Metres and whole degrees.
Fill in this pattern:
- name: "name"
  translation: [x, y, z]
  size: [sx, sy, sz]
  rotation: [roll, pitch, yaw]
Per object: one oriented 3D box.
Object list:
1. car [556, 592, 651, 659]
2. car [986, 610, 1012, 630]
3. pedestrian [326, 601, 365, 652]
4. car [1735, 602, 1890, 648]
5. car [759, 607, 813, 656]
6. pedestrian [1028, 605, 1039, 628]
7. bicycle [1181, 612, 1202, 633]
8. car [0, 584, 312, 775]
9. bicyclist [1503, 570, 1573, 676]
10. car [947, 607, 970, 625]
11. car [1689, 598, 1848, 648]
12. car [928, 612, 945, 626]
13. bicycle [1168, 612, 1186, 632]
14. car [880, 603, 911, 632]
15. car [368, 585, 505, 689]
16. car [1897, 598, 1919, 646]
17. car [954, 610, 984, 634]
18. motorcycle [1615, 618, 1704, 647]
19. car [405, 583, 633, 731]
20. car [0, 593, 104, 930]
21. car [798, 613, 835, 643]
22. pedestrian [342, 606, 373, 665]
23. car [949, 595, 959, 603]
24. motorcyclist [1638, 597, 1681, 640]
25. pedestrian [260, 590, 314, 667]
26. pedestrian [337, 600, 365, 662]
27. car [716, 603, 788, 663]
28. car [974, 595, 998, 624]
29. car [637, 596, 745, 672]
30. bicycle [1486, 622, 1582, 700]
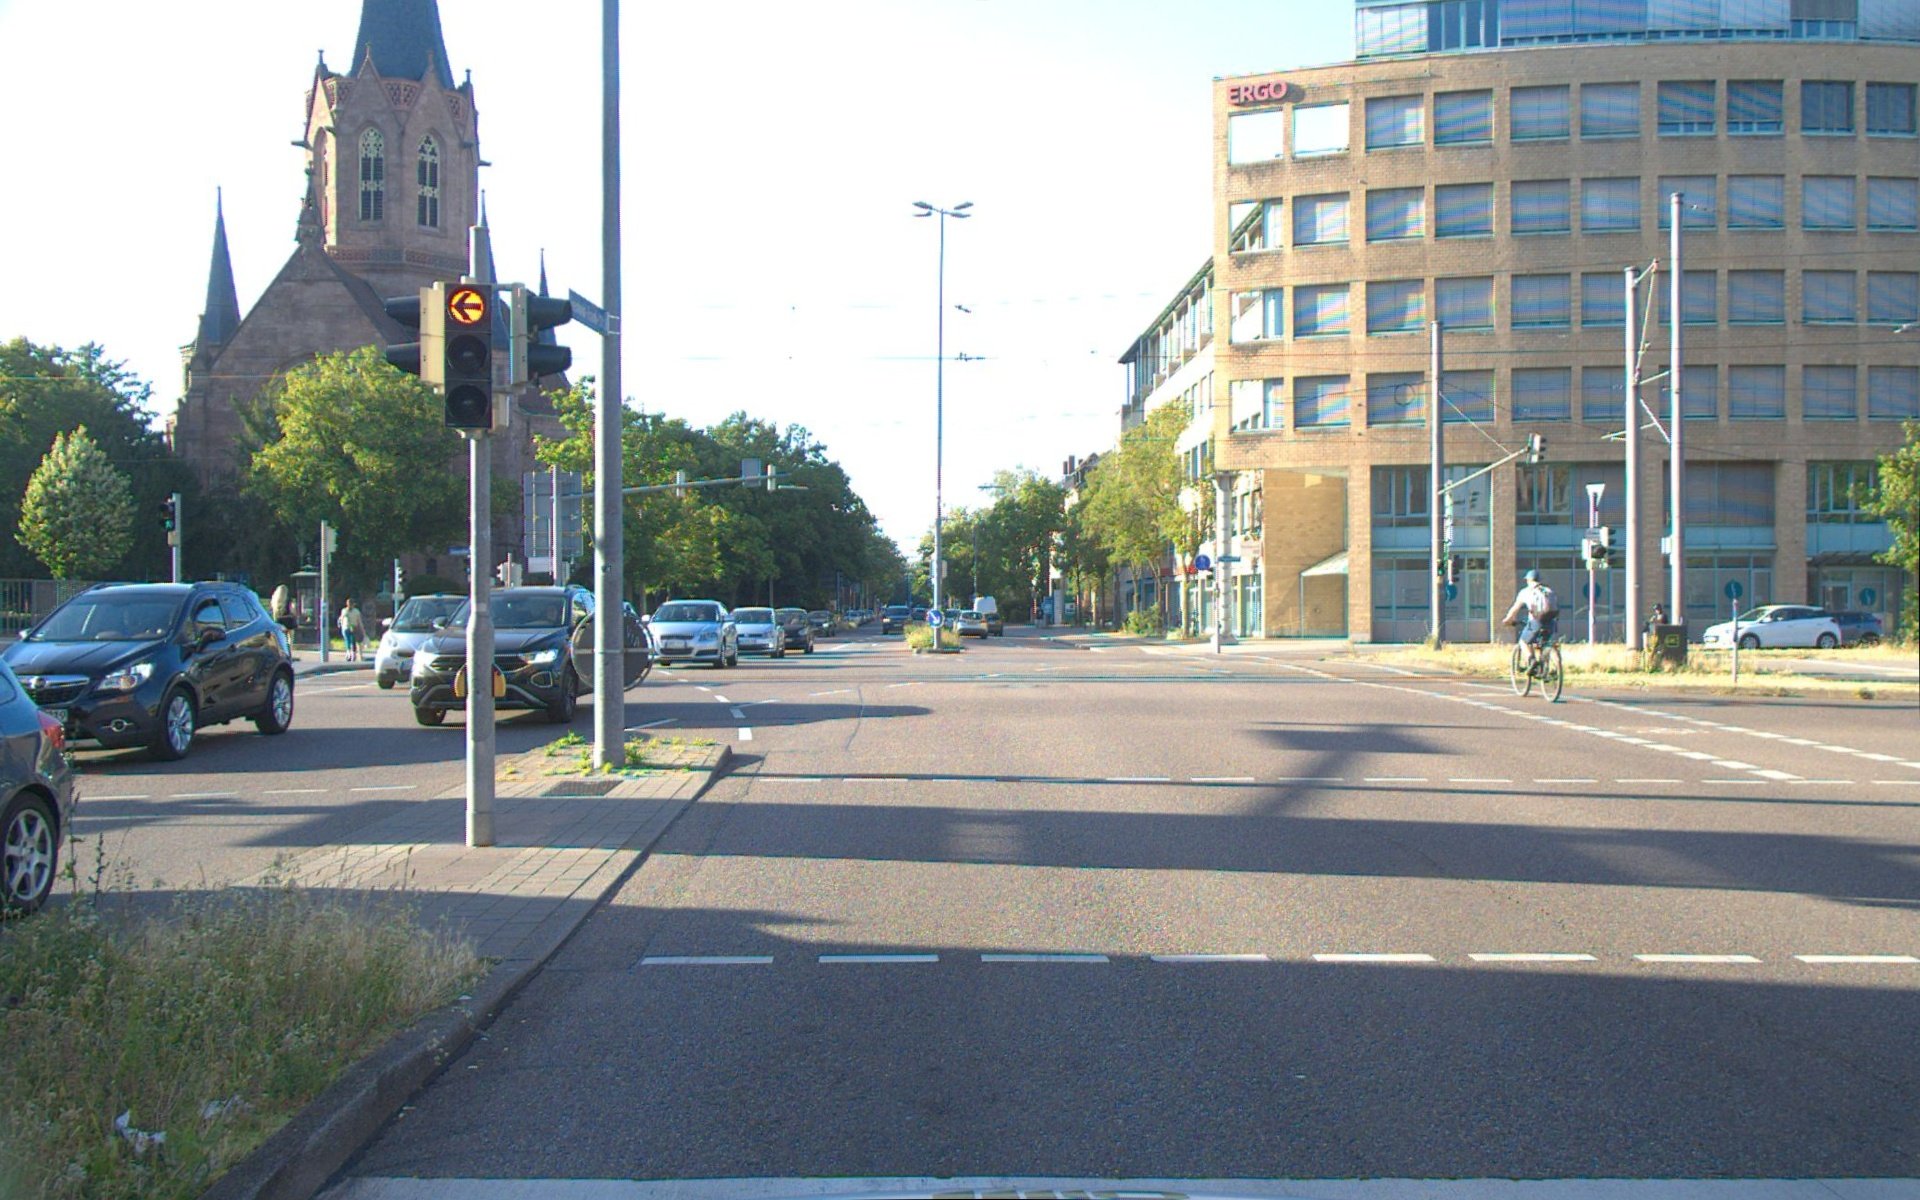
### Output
- name: "car"
  translation: [-9.000, 0.610, 41.995]
  size: [1.641, 1.571, 3.637]
  rotation: [-2, 0, -1]
- name: "car"
  translation: [2.477, 1.284, 106.785]
  size: [1.562, 1.289, 3.266]
  rotation: [0, 0, -1]
- name: "pedestrian"
  translation: [-21.455, 0.917, 57.772]
  size: [0.997, 1.726, 0.841]
  rotation: [1, -1, 37]
- name: "car"
  translation: [29.679, 0.863, 57.646]
  size: [4.390, 1.564, 1.986]
  rotation: [0, -1, -1]
- name: "car"
  translation: [-6.026, 1.061, 57.567]
  size: [1.546, 1.571, 3.476]
  rotation: [-2, 0, -1]
- name: "pedestrian"
  translation: [5.840, 1.292, 130.954]
  size: [0.830, 1.835, 0.775]
  rotation: [0, 0, -1]
- name: "bicycle"
  translation: [11.296, 1.110, 80.778]
  size: [0.633, 1.012, 2.080]
  rotation: [0, 0, -2]
- name: "car"
  translation: [-8.161, 0.694, 16.719]
  size: [1.685, 1.657, 4.101]
  rotation: [-2, 0, -2]
- name: "bicyclist"
  translation: [7.801, 0.302, 22.345]
  size: [0.580, 1.393, 0.929]
  rotation: [1, 0, -1]
- name: "car"
  translation: [-0.123, 1.145, 119.687]
  size: [1.562, 1.289, 3.266]
  rotation: [0, 0, -1]
- name: "car"
  translation: [25.592, 0.728, 52.450]
  size: [4.080, 1.518, 1.994]
  rotation: [0, -1, -3]
- name: "car"
  translation: [-2.195, 1.812, 156.632]
  size: [1.562, 1.289, 3.266]
  rotation: [0, 0, -1]
- name: "bicycle"
  translation: [11.184, 1.128, 85.311]
  size: [0.633, 1.012, 2.080]
  rotation: [0, 0, -2]
- name: "car"
  translation: [-4.124, 1.153, 107.005]
  size: [1.953, 1.754, 5.029]
  rotation: [-1, -1, -2]
- name: "car"
  translation: [-8.750, 0.581, 27.842]
  size: [1.505, 1.620, 2.806]
  rotation: [-2, 0, -3]
- name: "car"
  translation: [32.352, 0.702, 52.716]
  size: [3.970, 1.518, 1.819]
  rotation: [0, -1, -2]
- name: "car"
  translation: [0.458, 1.179, 89.679]
  size: [1.562, 1.289, 3.266]
  rotation: [0, 0, -1]
- name: "motorcycle"
  translation: [24.275, 1.113, 57.448]
  size: [2.663, 0.981, 1.031]
  rotation: [0, -1, -2]
- name: "car"
  translation: [-5.252, 0.612, 20.220]
  size: [1.641, 1.571, 4.102]
  rotation: [-2, 0, 0]
- name: "car"
  translation: [-5.028, 0.745, 6.295]
  size: [1.560, 1.497, 3.984]
  rotation: [-1, 0, -2]
- name: "car"
  translation: [-8.779, 1.738, 101.602]
  size: [1.953, 1.754, 4.591]
  rotation: [-1, -1, -2]
- name: "pedestrian"
  translation: [-18.007, 1.045, 49.469]
  size: [0.829, 1.726, 1.011]
  rotation: [1, -1, -20]
- name: "car"
  translation: [-0.924, -0.150, 255.976]
  size: [1.562, 1.289, 3.266]
  rotation: [0, 0, -1]
- name: "motorcyclist"
  translation: [24.287, 0.631, 57.455]
  size: [1.044, 1.460, 1.031]
  rotation: [0, -1, -2]
- name: "pedestrian"
  translation: [-15.724, 0.659, 38.667]
  size: [0.945, 1.770, 0.811]
  rotation: [0, -1, -3]
- name: "pedestrian"
  translation: [-17.160, 0.864, 46.598]
  size: [0.698, 1.726, 0.889]
  rotation: [1, -1, -23]
- name: "car"
  translation: [-5.979, 0.916, 47.868]
  size: [1.641, 1.571, 3.805]
  rotation: [-2, 0, -1]
- name: "car"
  translation: [2.303, 0.829, 145.055]
  size: [1.953, 2.483, 3.999]
  rotation: [1, 0, -1]
- name: "car"
  translation: [-5.678, 0.687, 35.312]
  size: [1.674, 1.450, 4.101]
  rotation: [-2, 0, -1]
- name: "bicycle"
  translation: [7.783, 0.807, 22.491]
  size: [0.580, 0.959, 1.978]
  rotation: [1, 0, -1]
